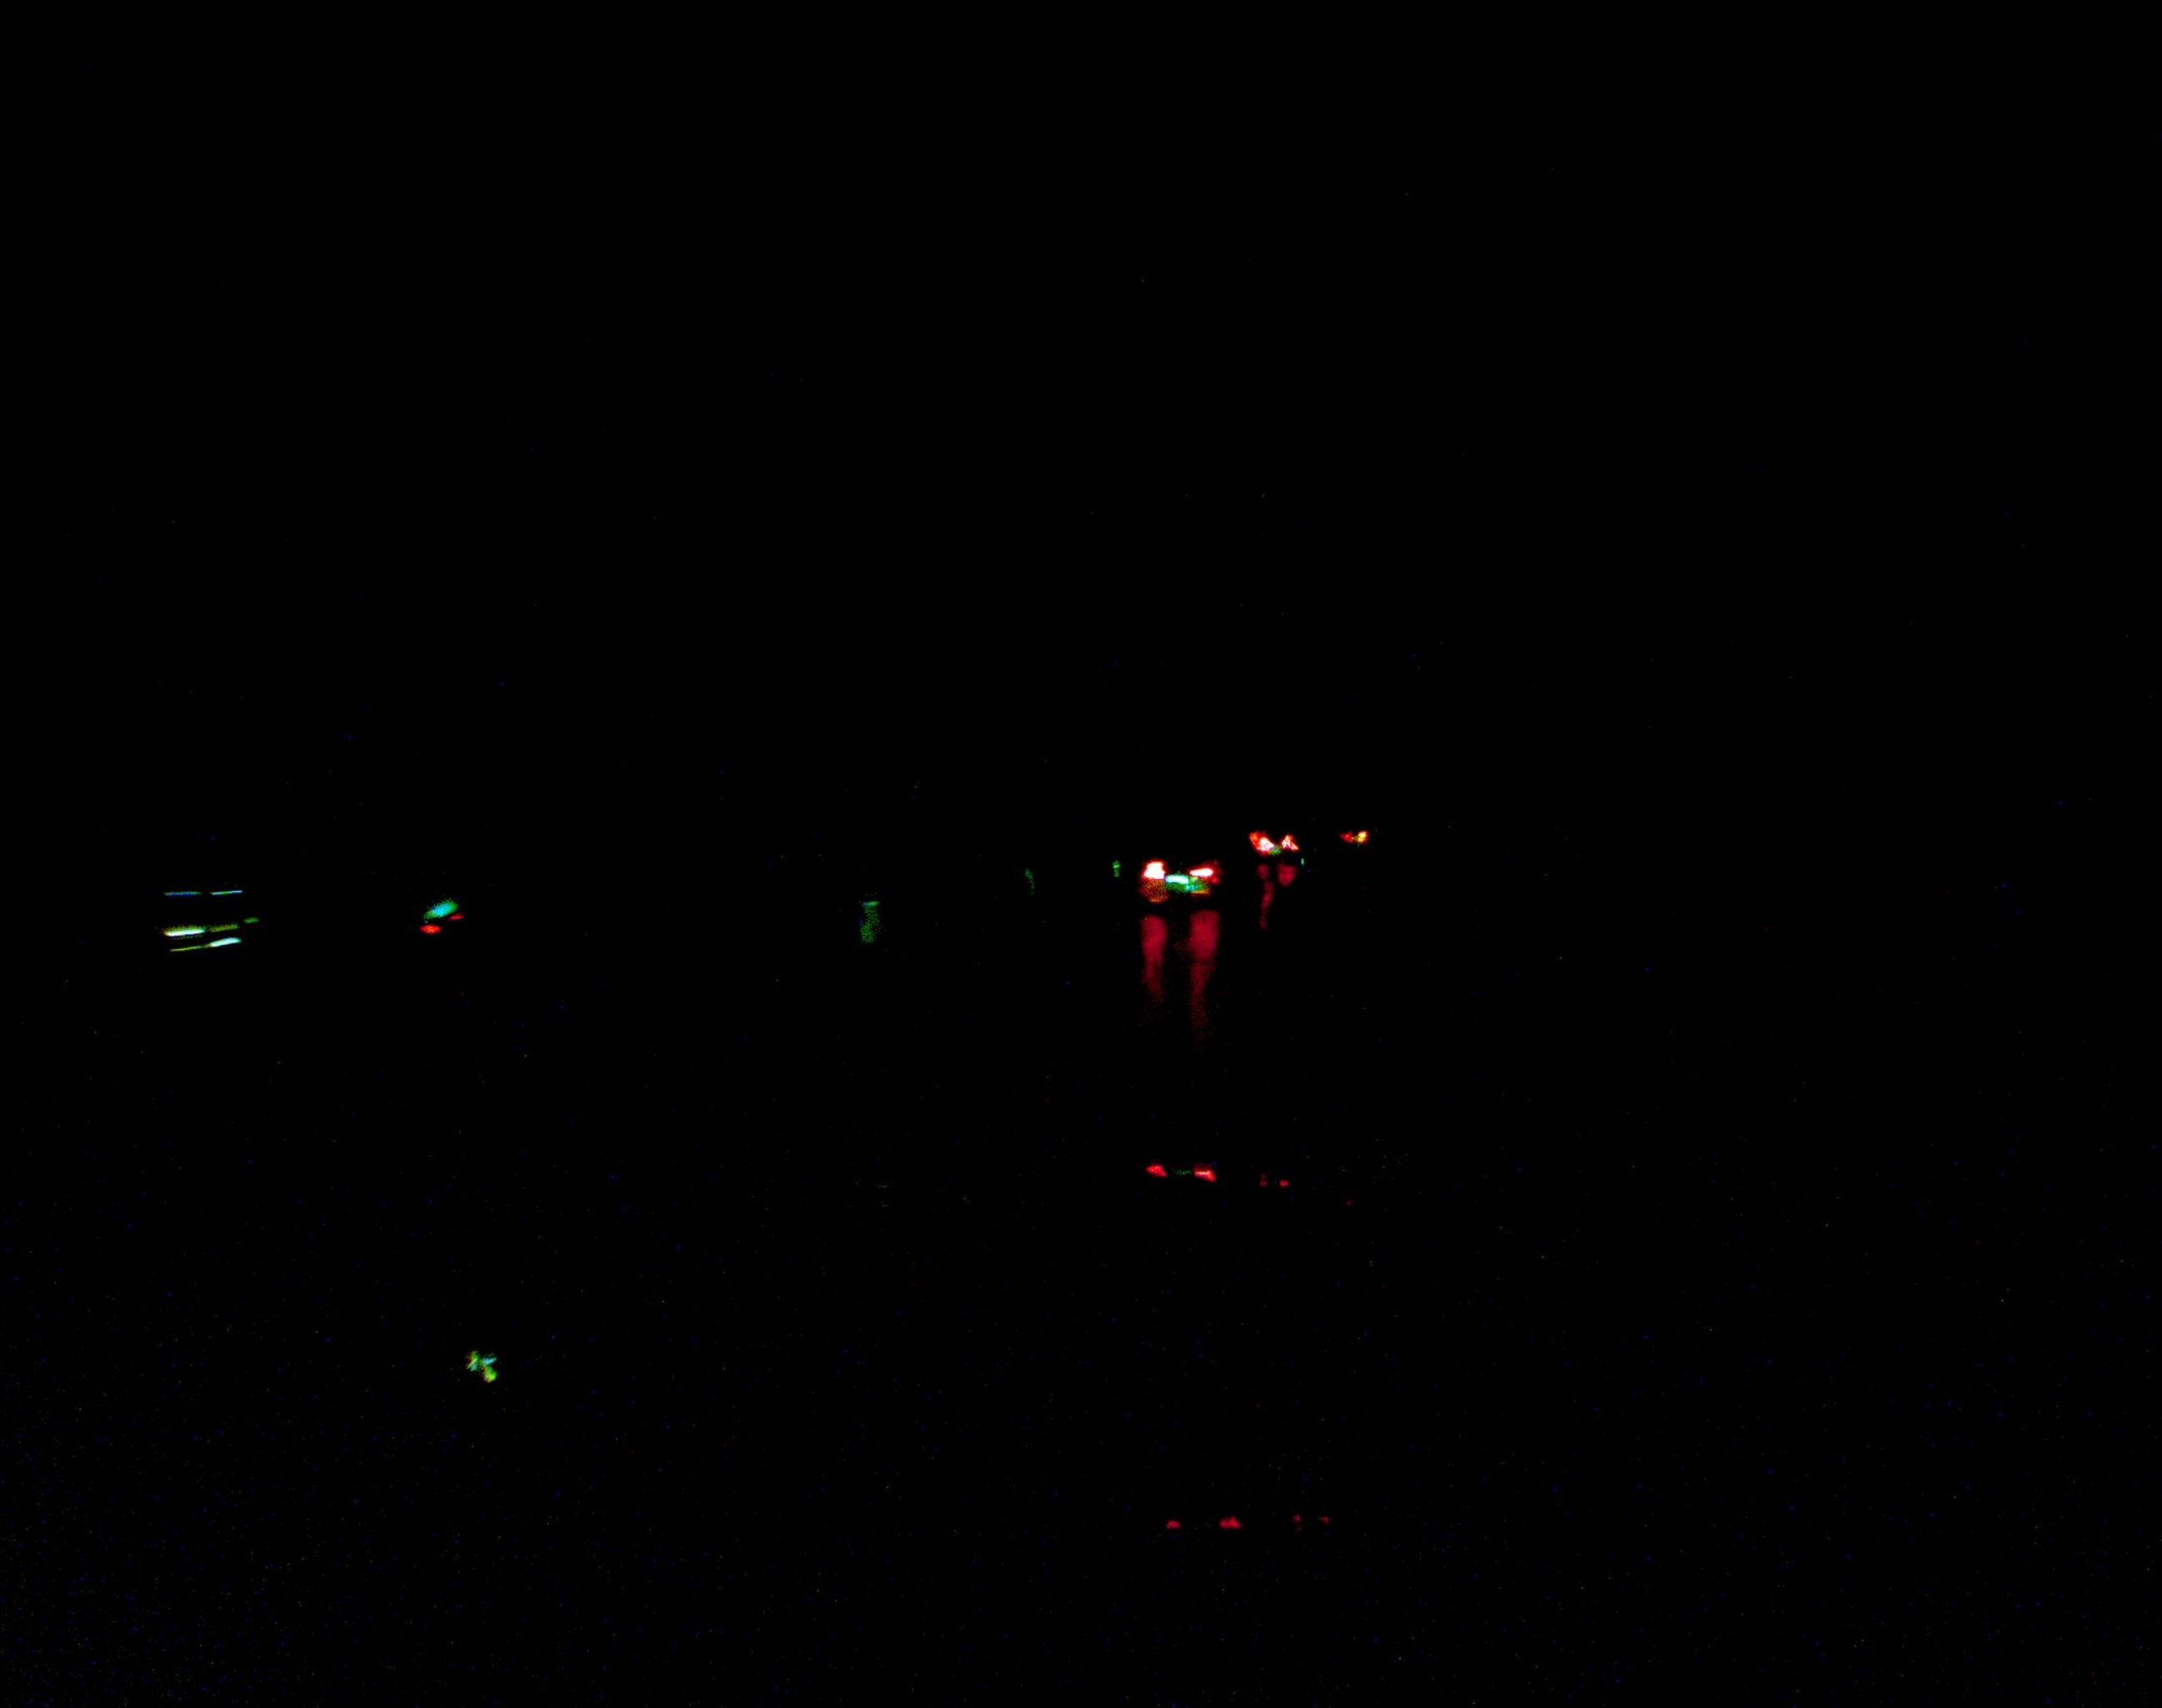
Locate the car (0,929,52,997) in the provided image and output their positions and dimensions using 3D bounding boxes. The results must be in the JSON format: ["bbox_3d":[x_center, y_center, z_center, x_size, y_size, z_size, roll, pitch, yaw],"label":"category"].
[{"bbox_3d":[-26.676,2.712,18.996,1.657,1.575,3.818,-5,0,-24],"label":"car"}]

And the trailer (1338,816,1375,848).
[{"bbox_3d":[21.273,-1.570,62.618,2.060,2.014,10.703,-4,-2,21],"label":"trailer"}]

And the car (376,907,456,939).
[{"bbox_3d":[-33.242,3.427,40.845,1.970,1.380,4.018,-2,-2,-23],"label":"car"}]
